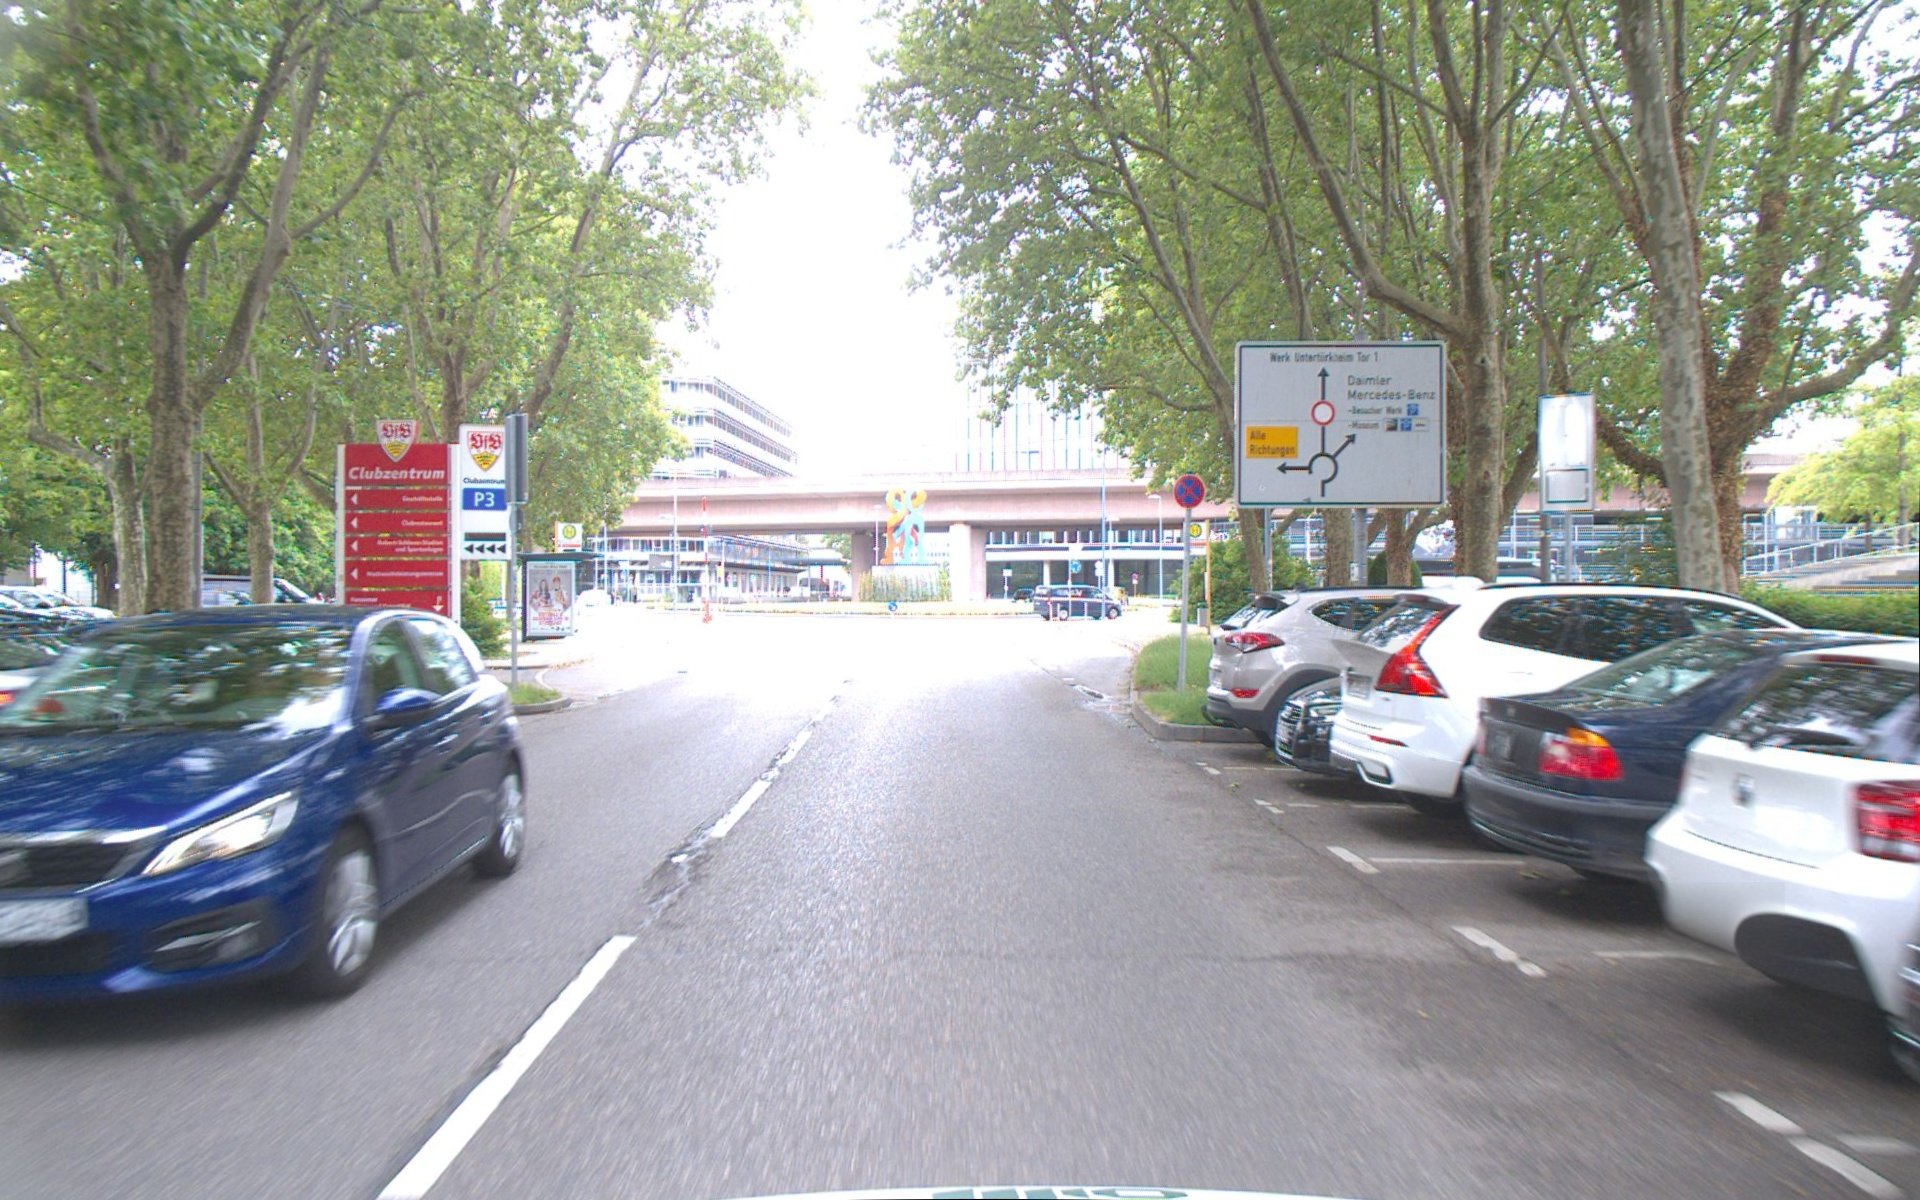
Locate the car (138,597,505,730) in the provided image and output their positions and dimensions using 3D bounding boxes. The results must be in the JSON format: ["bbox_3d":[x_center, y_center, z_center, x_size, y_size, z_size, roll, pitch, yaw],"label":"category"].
[{"bbox_3d":[-7.989,0.771,20.958,3.912,1.567,1.805,1,0,0],"label":"car"}]

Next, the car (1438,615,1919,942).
[{"bbox_3d":[4.567,0.860,8.502,3.656,1.427,1.775,2,0,-2],"label":"car"}]

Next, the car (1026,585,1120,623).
[{"bbox_3d":[6.225,0.230,90.991,4.707,2.049,2.266,1,0,-25],"label":"car"}]

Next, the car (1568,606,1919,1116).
[{"bbox_3d":[4.708,0.826,6.011,4.259,1.481,1.949,1,1,-3],"label":"car"}]

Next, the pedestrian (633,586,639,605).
[{"bbox_3d":[-34.852,-0.458,178.011,0.578,2.049,0.597,1,0,-12],"label":"pedestrian"}]

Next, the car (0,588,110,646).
[{"bbox_3d":[-23.041,0.389,39.976,3.906,1.347,2.001,1,0,-2],"label":"car"}]

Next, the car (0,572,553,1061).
[{"bbox_3d":[-3.162,0.720,7.347,1.805,1.536,4.013,-3,0,-3],"label":"car"}]

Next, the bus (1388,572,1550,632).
[{"bbox_3d":[34.923,0.163,113.379,10.864,4.003,2.747,1,0,-15],"label":"bus"}]

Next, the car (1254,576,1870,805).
[{"bbox_3d":[4.696,0.667,13.381,4.258,1.633,1.925,1,1,-1],"label":"car"}]

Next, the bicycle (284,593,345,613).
[{"bbox_3d":[-36.931,0.161,94.655,3.130,1.116,0.770,1,0,-16],"label":"bicycle"}]

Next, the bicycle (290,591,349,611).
[{"bbox_3d":[-37.032,0.076,95.630,3.131,1.116,0.769,1,0,-17],"label":"bicycle"}]

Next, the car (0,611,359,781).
[{"bbox_3d":[-8.119,0.882,16.010,3.913,1.520,1.832,1,0,-1],"label":"car"}]

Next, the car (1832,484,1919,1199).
[{"bbox_3d":[4.540,0.662,3.615,4.259,1.791,1.924,1,0,-3],"label":"car"}]

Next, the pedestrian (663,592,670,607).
[{"bbox_3d":[-38.735,-0.080,218.282,0.760,2.049,0.671,-1,0,-1],"label":"pedestrian"}]

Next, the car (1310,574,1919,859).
[{"bbox_3d":[4.677,0.706,10.998,4.258,1.662,1.925,1,1,-1],"label":"car"}]

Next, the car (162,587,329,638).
[{"bbox_3d":[-23.430,0.424,54.358,4.530,1.595,2.109,1,-1,1],"label":"car"}]

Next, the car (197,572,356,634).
[{"bbox_3d":[-23.637,0.104,57.318,4.521,2.061,2.263,1,0,1],"label":"car"}]

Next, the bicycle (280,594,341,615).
[{"bbox_3d":[-36.628,0.246,93.320,3.130,1.116,0.770,1,0,-16],"label":"bicycle"}]

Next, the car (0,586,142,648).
[{"bbox_3d":[-23.593,0.431,42.741,3.906,1.549,2.001,1,0,-1],"label":"car"}]

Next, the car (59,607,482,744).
[{"bbox_3d":[-7.622,0.802,18.555,3.910,1.409,1.912,1,0,2],"label":"car"}]

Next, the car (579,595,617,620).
[{"bbox_3d":[-23.042,0.449,105.377,1.865,1.478,4.807,-2,1,-7],"label":"car"}]

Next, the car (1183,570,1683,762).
[{"bbox_3d":[4.434,0.588,15.995,4.258,1.662,1.925,1,1,-1],"label":"car"}]

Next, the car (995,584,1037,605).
[{"bbox_3d":[5.050,-0.465,148.590,1.960,1.803,3.985,0,0,36],"label":"car"}]

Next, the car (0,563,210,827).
[{"bbox_3d":[-7.494,0.669,10.886,4.179,1.575,1.907,-3,0,-3],"label":"car"}]

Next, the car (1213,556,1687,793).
[{"bbox_3d":[4.555,0.658,15.850,3.906,2.049,2.000,1,1,-1],"label":"car"}]

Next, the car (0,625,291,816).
[{"bbox_3d":[-7.848,0.935,13.619,3.906,1.430,1.861,1,0,-1],"label":"car"}]

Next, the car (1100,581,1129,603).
[{"bbox_3d":[14.413,-0.712,154.549,1.951,2.049,4.002,0,0,16],"label":"car"}]
